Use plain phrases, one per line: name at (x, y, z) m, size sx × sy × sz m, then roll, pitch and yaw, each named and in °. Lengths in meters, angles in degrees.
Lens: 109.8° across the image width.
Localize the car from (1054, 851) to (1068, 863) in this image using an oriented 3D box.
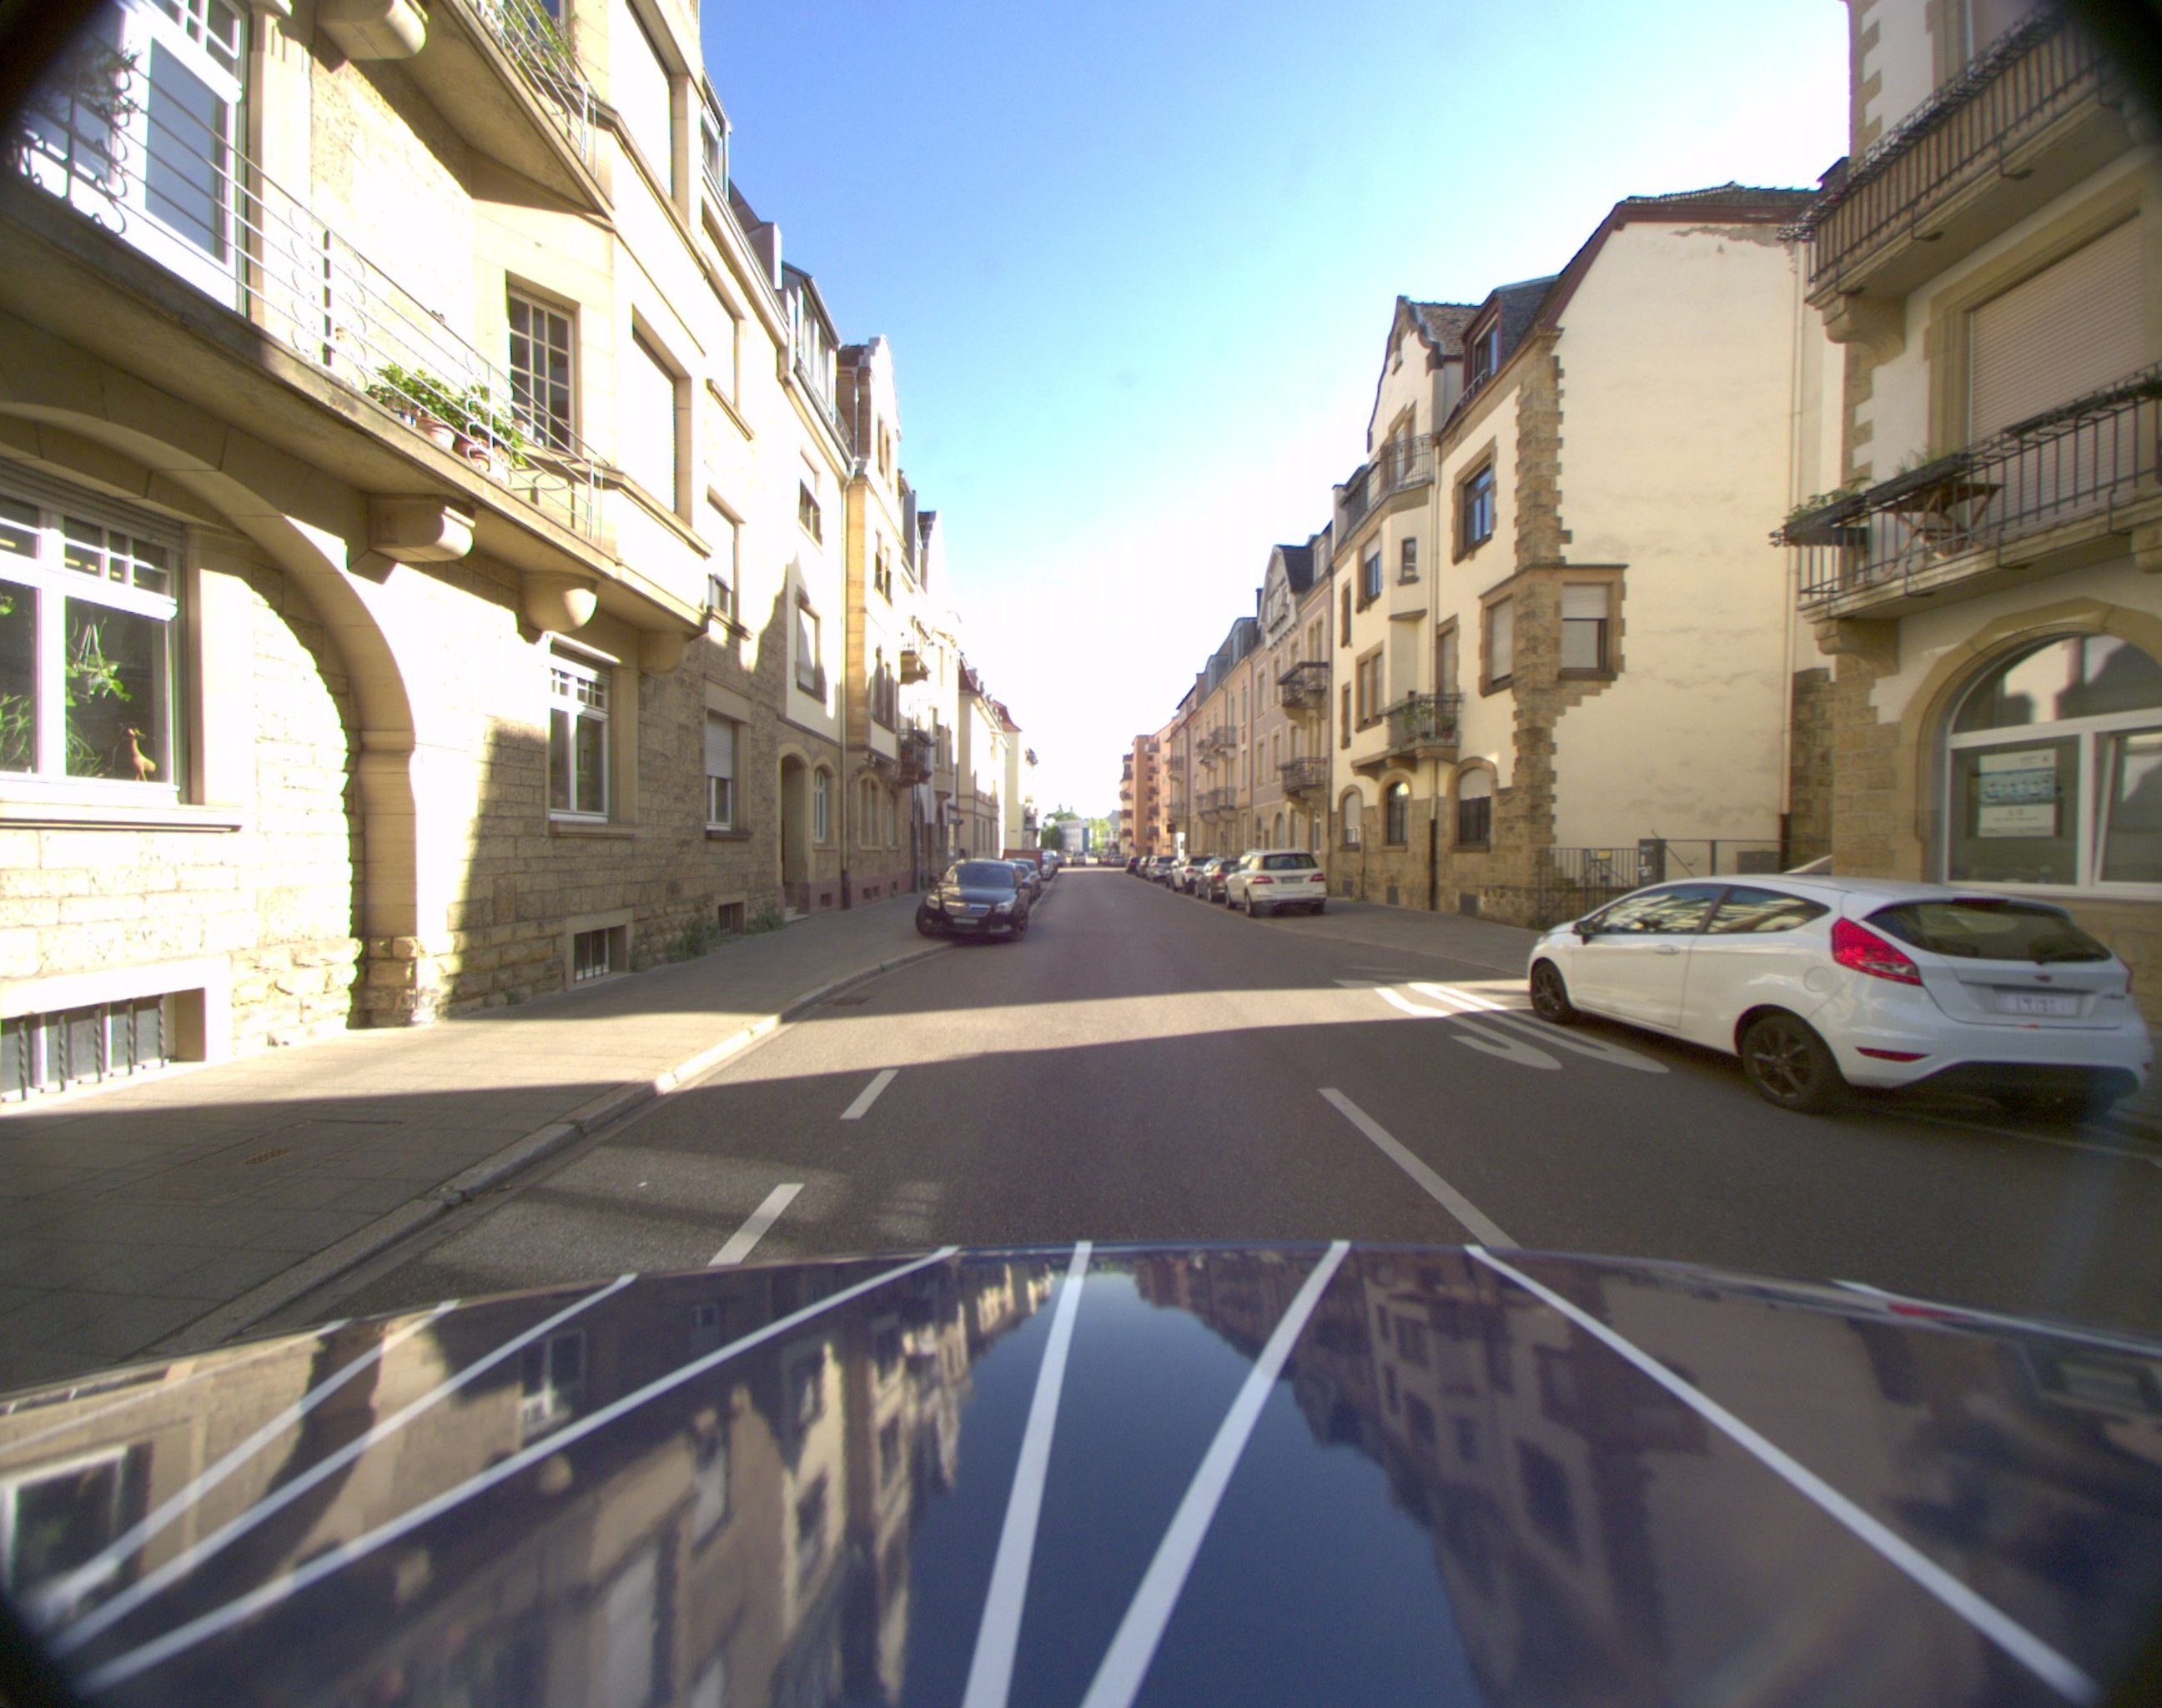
car at (-2.654, 0.378, 99.709) m, size 1.708 × 1.417 × 3.721 m, roll 0°, pitch 0°, yaw -2°

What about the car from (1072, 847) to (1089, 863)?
car at (-0.035, 0.152, 98.086) m, size 1.868 × 1.926 × 4.598 m, roll -1°, pitch 0°, yaw -3°

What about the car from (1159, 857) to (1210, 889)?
car at (5.042, 0.905, 37.578) m, size 1.677 × 1.385 × 3.664 m, roll -3°, pitch 0°, yaw -5°

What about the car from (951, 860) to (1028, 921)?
car at (-2.378, 0.908, 20.641) m, size 1.655 × 1.434 × 4.257 m, roll 1°, pitch 0°, yaw -1°

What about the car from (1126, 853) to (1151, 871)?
car at (4.722, 0.652, 62.685) m, size 1.719 × 1.378 × 3.864 m, roll -3°, pitch 0°, yaw 0°

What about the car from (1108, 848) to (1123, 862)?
car at (4.572, 0.142, 101.693) m, size 1.822 × 1.867 × 4.110 m, roll 0°, pitch 0°, yaw 0°

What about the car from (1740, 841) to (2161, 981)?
car at (11.832, 0.708, 10.390) m, size 3.978 × 1.718 × 1.909 m, roll 0°, pitch 0°, yaw 0°

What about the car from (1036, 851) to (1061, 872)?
car at (-2.647, 0.616, 63.526) m, size 1.791 × 1.655 × 4.434 m, roll 0°, pitch 0°, yaw 1°

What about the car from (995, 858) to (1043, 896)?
car at (-2.465, 0.872, 30.584) m, size 1.791 × 1.421 × 3.806 m, roll 0°, pitch 0°, yaw -4°

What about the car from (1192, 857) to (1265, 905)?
car at (5.080, 0.864, 26.702) m, size 1.578 × 1.479 × 4.279 m, roll -2°, pitch 0°, yaw -2°

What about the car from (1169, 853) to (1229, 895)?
car at (4.921, 0.792, 32.193) m, size 1.719 × 1.574 × 4.019 m, roll -3°, pitch 0°, yaw -2°

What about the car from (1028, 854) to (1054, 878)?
car at (-2.474, 0.727, 47.637) m, size 1.590 × 1.456 × 3.711 m, roll 0°, pitch 0°, yaw -2°

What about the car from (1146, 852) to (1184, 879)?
car at (4.999, 0.680, 45.706) m, size 1.719 × 1.529 × 3.722 m, roll -1°, pitch 0°, yaw -2°

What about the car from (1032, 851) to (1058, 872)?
car at (-2.765, 0.581, 59.093) m, size 1.684 × 1.537 × 3.914 m, roll 1°, pitch 0°, yaw 1°

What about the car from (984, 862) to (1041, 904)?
car at (-2.286, 0.931, 26.096) m, size 1.697 × 1.247 × 3.940 m, roll -1°, pitch 0°, yaw -2°

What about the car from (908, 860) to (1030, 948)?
car at (-2.067, 0.878, 15.227) m, size 1.870 × 1.454 × 4.338 m, roll 0°, pitch 0°, yaw -1°

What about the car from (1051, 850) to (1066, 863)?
car at (-2.760, 0.308, 93.359) m, size 1.708 × 1.417 × 3.721 m, roll 1°, pitch 1°, yaw -1°

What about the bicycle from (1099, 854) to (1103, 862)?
bicycle at (2.634, 0.528, 101.206) m, size 0.541 × 1.070 × 1.800 m, roll 0°, pitch 0°, yaw 1°

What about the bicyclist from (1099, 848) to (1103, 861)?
bicyclist at (2.652, 0.074, 101.165) m, size 0.609 × 1.656 × 0.632 m, roll 0°, pitch 1°, yaw 0°

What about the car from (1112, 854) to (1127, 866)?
car at (4.622, 0.655, 91.154) m, size 1.678 × 1.414 × 3.500 m, roll 0°, pitch 0°, yaw 0°

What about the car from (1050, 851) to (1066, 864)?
car at (-2.616, 0.355, 87.895) m, size 1.708 × 1.417 × 3.721 m, roll 1°, pitch 1°, yaw -1°

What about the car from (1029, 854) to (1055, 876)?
car at (-2.672, 0.717, 53.024) m, size 1.657 × 1.456 × 4.093 m, roll 0°, pitch 0°, yaw -1°

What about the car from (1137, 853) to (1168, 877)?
car at (4.892, 0.733, 52.399) m, size 1.719 × 1.512 × 4.109 m, roll 1°, pitch 0°, yaw -1°

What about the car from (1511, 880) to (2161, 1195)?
car at (5.085, 1.006, 5.768) m, size 1.637 × 1.455 × 3.735 m, roll 0°, pitch 1°, yaw 2°

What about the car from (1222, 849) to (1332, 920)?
car at (5.211, 0.742, 20.911) m, size 1.896 × 1.712 × 4.726 m, roll -1°, pitch 0°, yaw 1°
